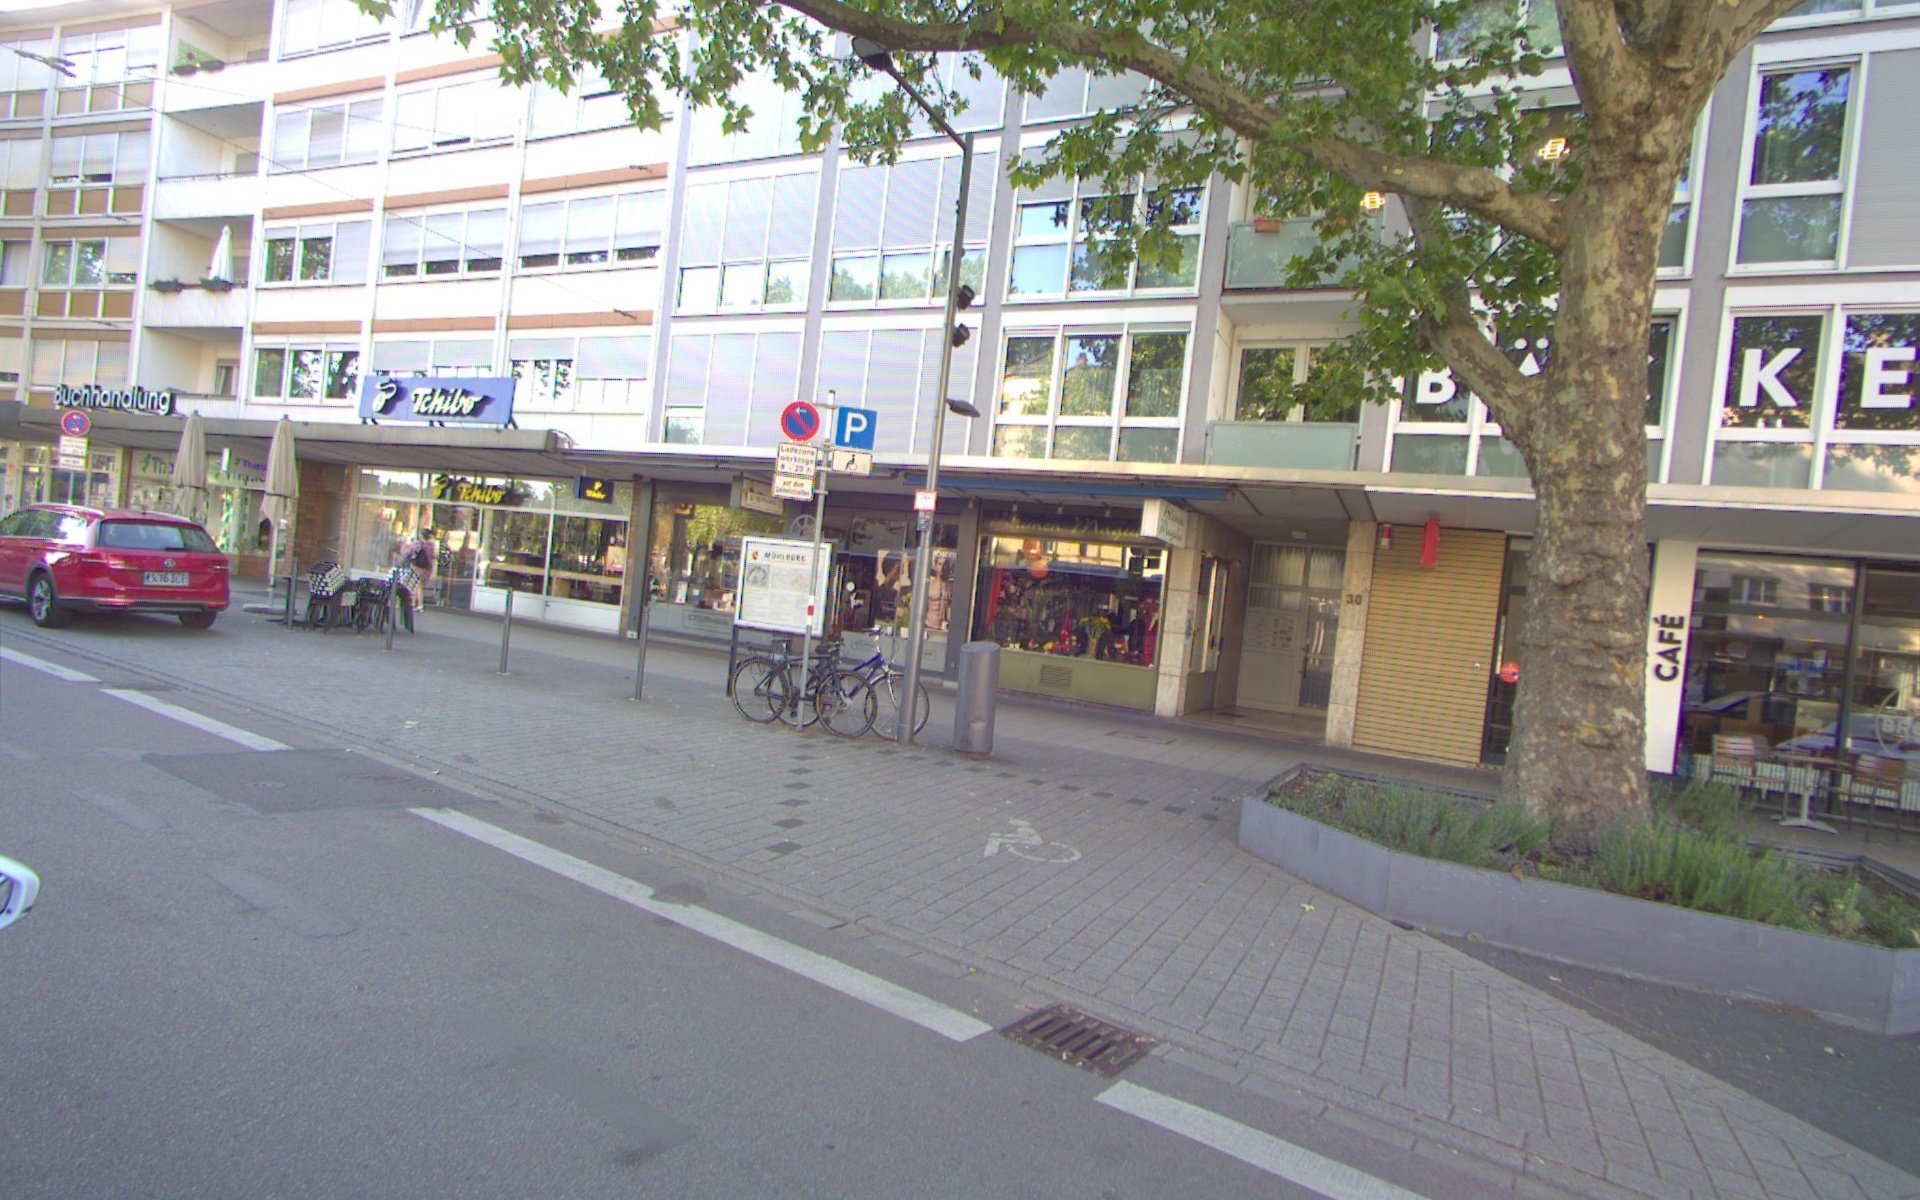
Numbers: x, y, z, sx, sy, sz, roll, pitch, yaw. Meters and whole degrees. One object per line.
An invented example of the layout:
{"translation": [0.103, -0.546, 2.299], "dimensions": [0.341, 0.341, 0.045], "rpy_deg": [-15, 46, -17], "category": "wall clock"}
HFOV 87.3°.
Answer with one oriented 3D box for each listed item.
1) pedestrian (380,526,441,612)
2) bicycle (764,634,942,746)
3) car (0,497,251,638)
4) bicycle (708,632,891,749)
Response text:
{"translation": [-10.867, -0.604, 19.897], "dimensions": [0.776, 1.613, 0.651], "rpy_deg": [7, 3, 26], "category": "pedestrian"}
{"translation": [-1.120, 0.925, 10.555], "dimensions": [1.743, 0.931, 0.391], "rpy_deg": [6, 2, 12], "category": "bicycle"}
{"translation": [-11.647, -0.489, 13.457], "dimensions": [4.229, 1.502, 1.772], "rpy_deg": [6, 1, 28], "category": "car"}
{"translation": [-1.632, 0.903, 10.235], "dimensions": [1.743, 0.951, 0.391], "rpy_deg": [6, 2, 12], "category": "bicycle"}
